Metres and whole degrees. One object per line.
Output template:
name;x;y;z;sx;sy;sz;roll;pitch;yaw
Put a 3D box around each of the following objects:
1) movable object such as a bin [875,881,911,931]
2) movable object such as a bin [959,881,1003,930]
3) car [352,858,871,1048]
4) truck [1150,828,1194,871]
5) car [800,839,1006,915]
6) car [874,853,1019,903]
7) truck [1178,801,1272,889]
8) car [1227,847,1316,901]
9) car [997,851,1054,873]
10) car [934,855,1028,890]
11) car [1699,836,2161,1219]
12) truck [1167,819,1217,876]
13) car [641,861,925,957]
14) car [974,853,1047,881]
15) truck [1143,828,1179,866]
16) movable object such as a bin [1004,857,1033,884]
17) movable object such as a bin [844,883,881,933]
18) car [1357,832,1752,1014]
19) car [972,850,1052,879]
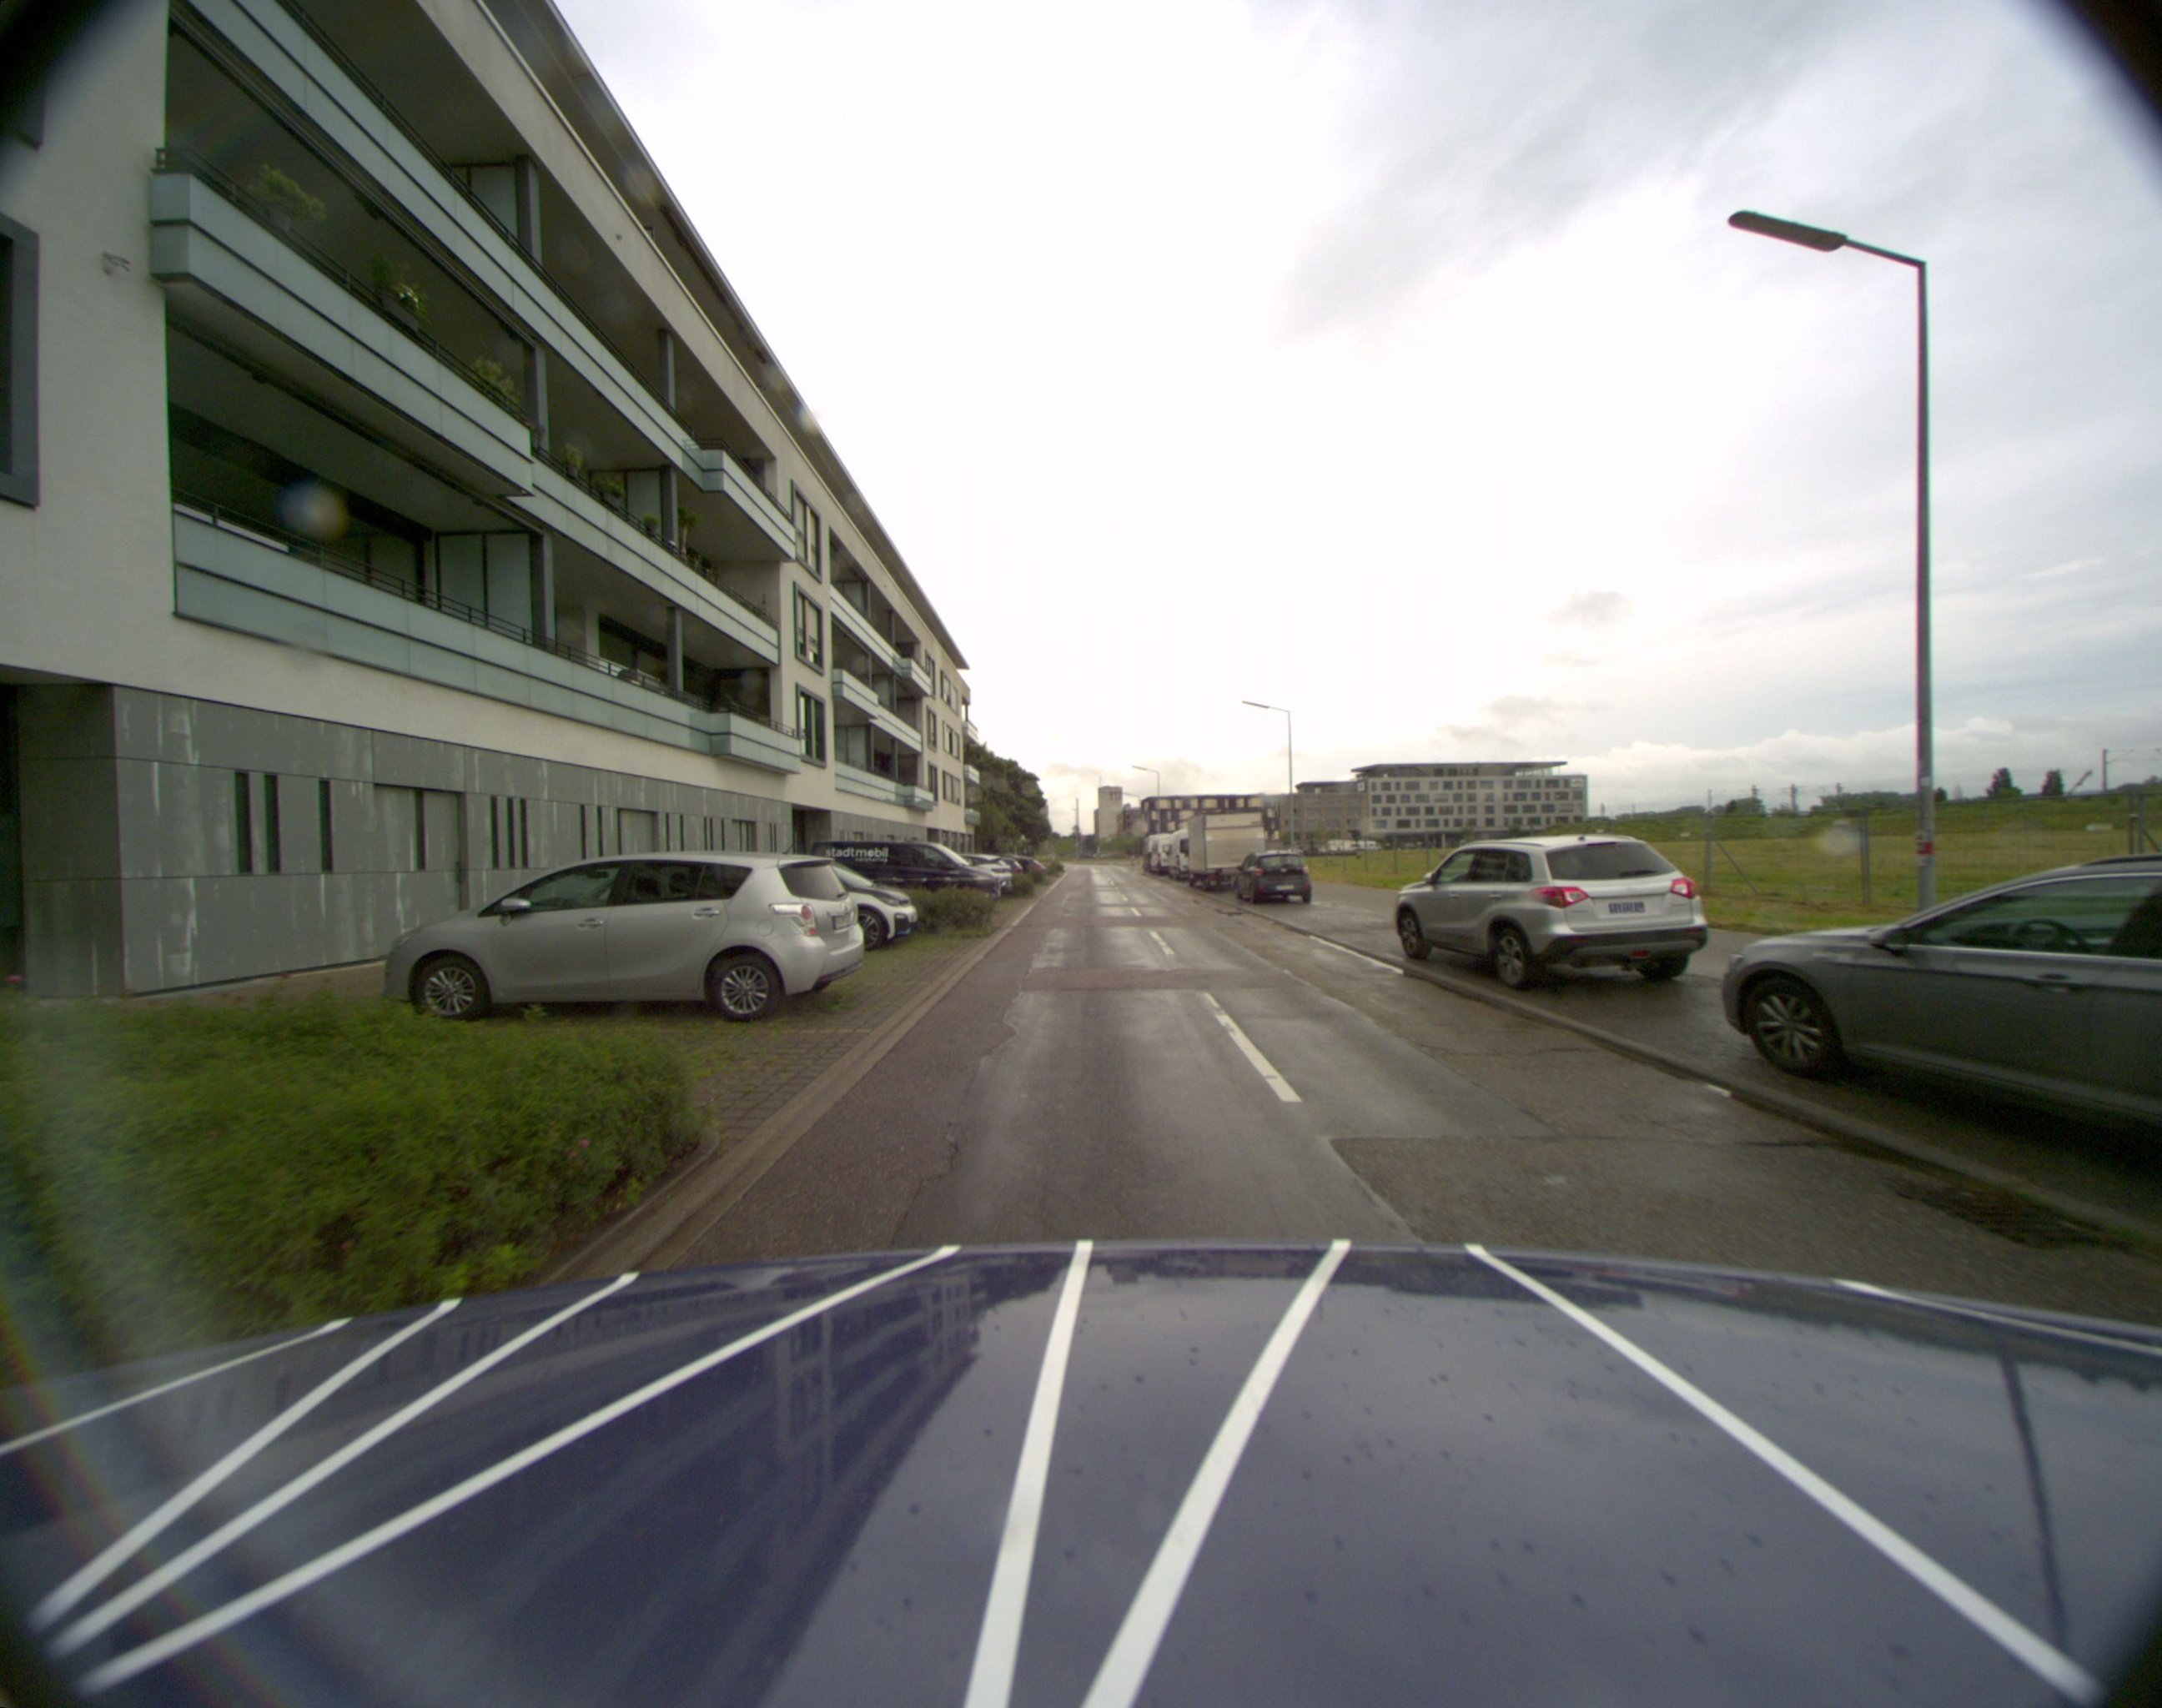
movable object such as a bin;-4.202;1.156;16.995;0.540;1.040;0.817;-1;1;2
movable object such as a bin;-2.264;1.156;17.178;0.815;1.040;0.541;-1;1;39
car;-4.523;0.915;7.780;4.218;1.635;1.686;-1;1;1
truck;5.991;-0.320;50.771;2.180;2.591;6.131;-2;1;1
car;-4.672;0.583;20.486;5.062;1.918;1.982;0;1;0
car;-4.457;0.770;25.688;4.428;1.592;2.083;0;1;5
truck;5.642;-0.345;30.799;2.442;3.051;6.699;-3;1;0
car;5.691;0.547;23.152;1.676;1.454;4.156;-1;1;1
car;-4.045;0.567;55.481;3.997;1.478;1.786;-1;1;0
car;-4.623;0.859;35.432;4.100;1.469;1.711;-1;1;0
car;5.453;0.730;3.241;1.842;1.520;4.670;-4;1;1
truck;5.963;-0.356;41.630;2.045;2.750;6.738;-3;1;4
car;-4.939;0.897;13.074;4.187;1.474;1.749;0;1;-3
car;-3.986;0.744;43.440;3.997;1.478;1.786;-1;1;0
truck;6.026;-0.552;58.110;2.180;2.730;5.289;-2;1;1
movable object such as a bin;-3.203;0.841;38.965;1.352;1.330;0.976;-3;1;0
movable object such as a bin;-4.861;1.188;16.938;0.540;1.040;0.817;-1;1;1
car;5.428;0.639;9.743;1.857;1.598;4.988;-4;1;0
car;-4.300;0.618;47.769;4.796;1.654;1.867;-1;1;0
